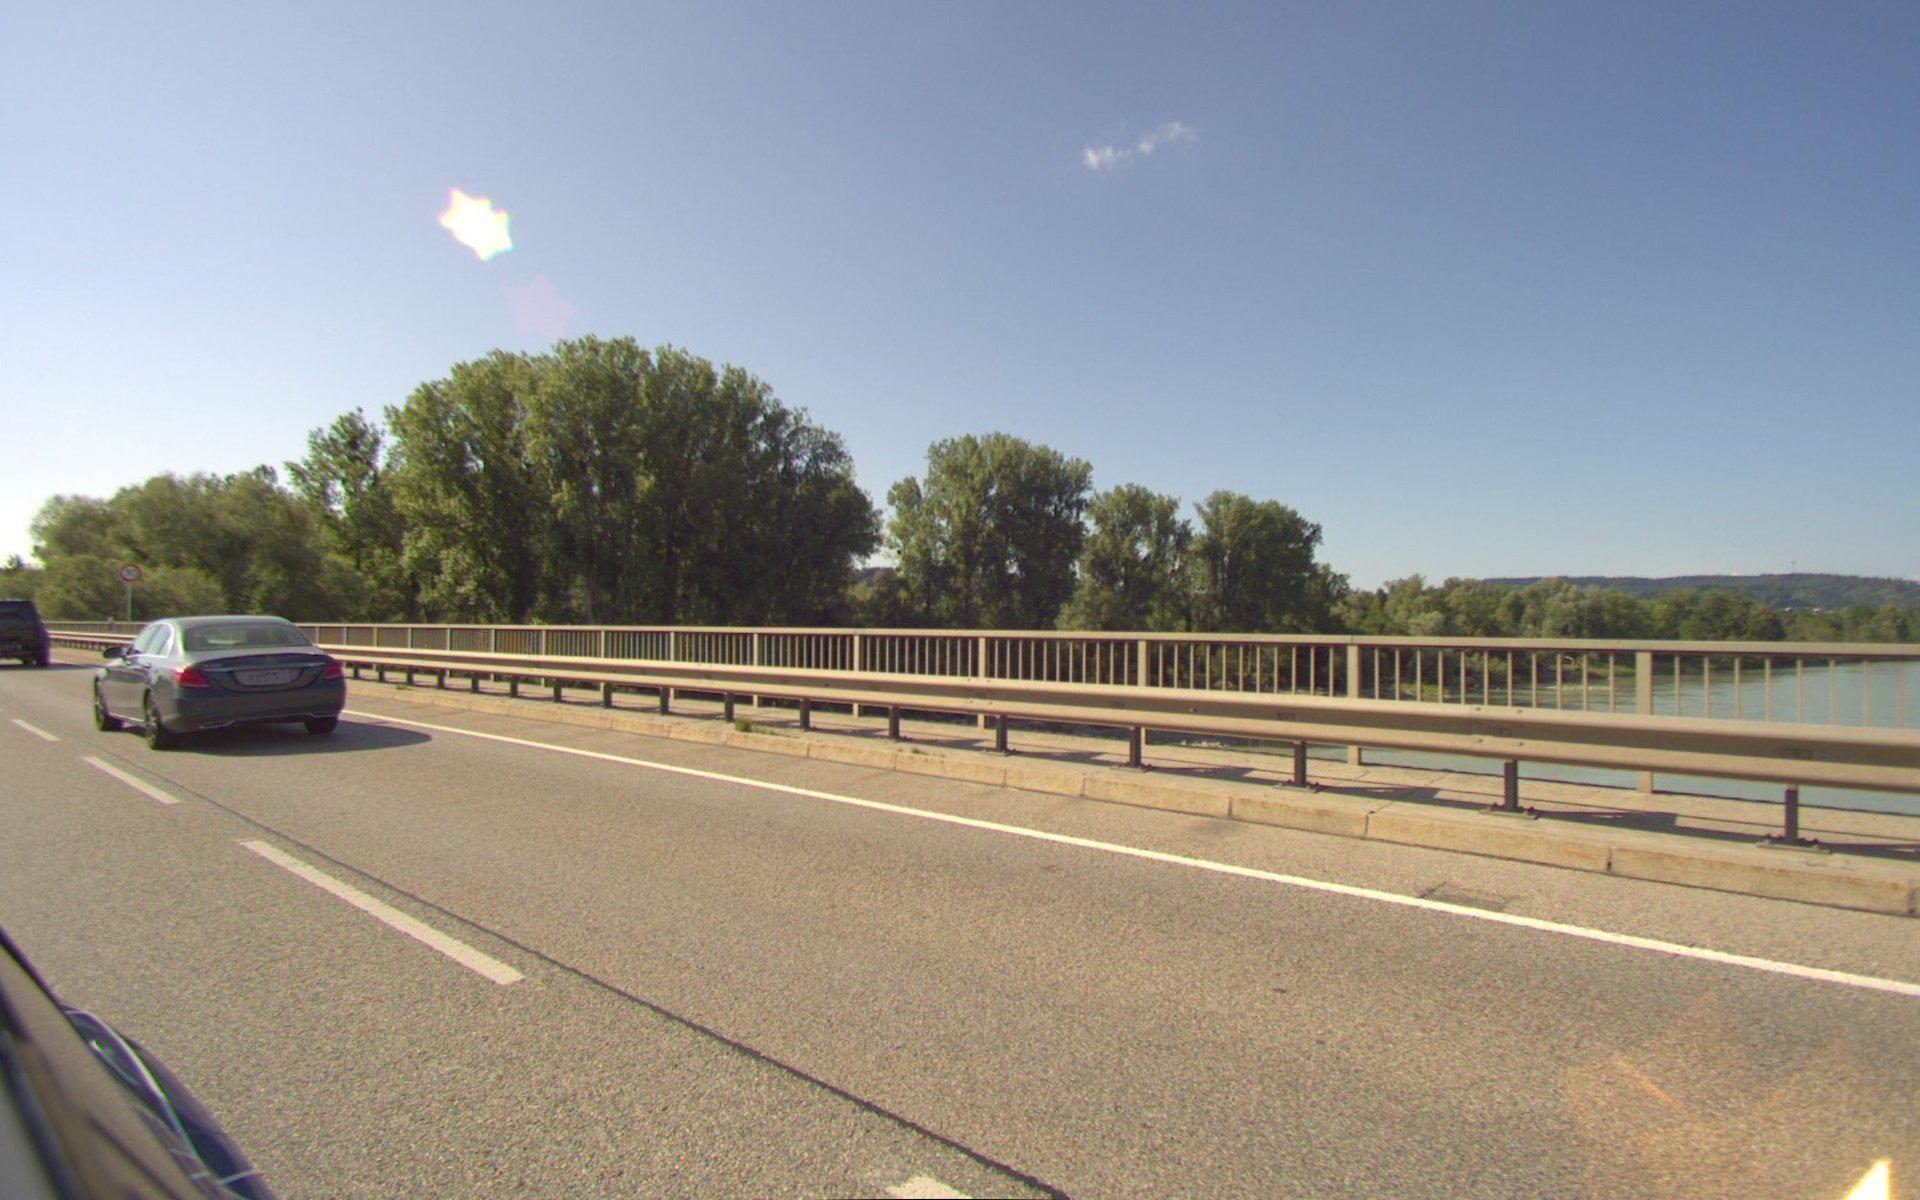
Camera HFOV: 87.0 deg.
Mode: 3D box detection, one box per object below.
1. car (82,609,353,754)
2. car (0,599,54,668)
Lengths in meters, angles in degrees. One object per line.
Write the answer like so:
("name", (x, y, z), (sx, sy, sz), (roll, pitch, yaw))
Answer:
("car", (-9.163, 0.856, 12.343), (4.454, 1.458, 1.747), (-1, -1, 41))
("car", (-27.891, 0.942, 29.175), (5.066, 1.888, 2.016), (-1, -1, 41))
